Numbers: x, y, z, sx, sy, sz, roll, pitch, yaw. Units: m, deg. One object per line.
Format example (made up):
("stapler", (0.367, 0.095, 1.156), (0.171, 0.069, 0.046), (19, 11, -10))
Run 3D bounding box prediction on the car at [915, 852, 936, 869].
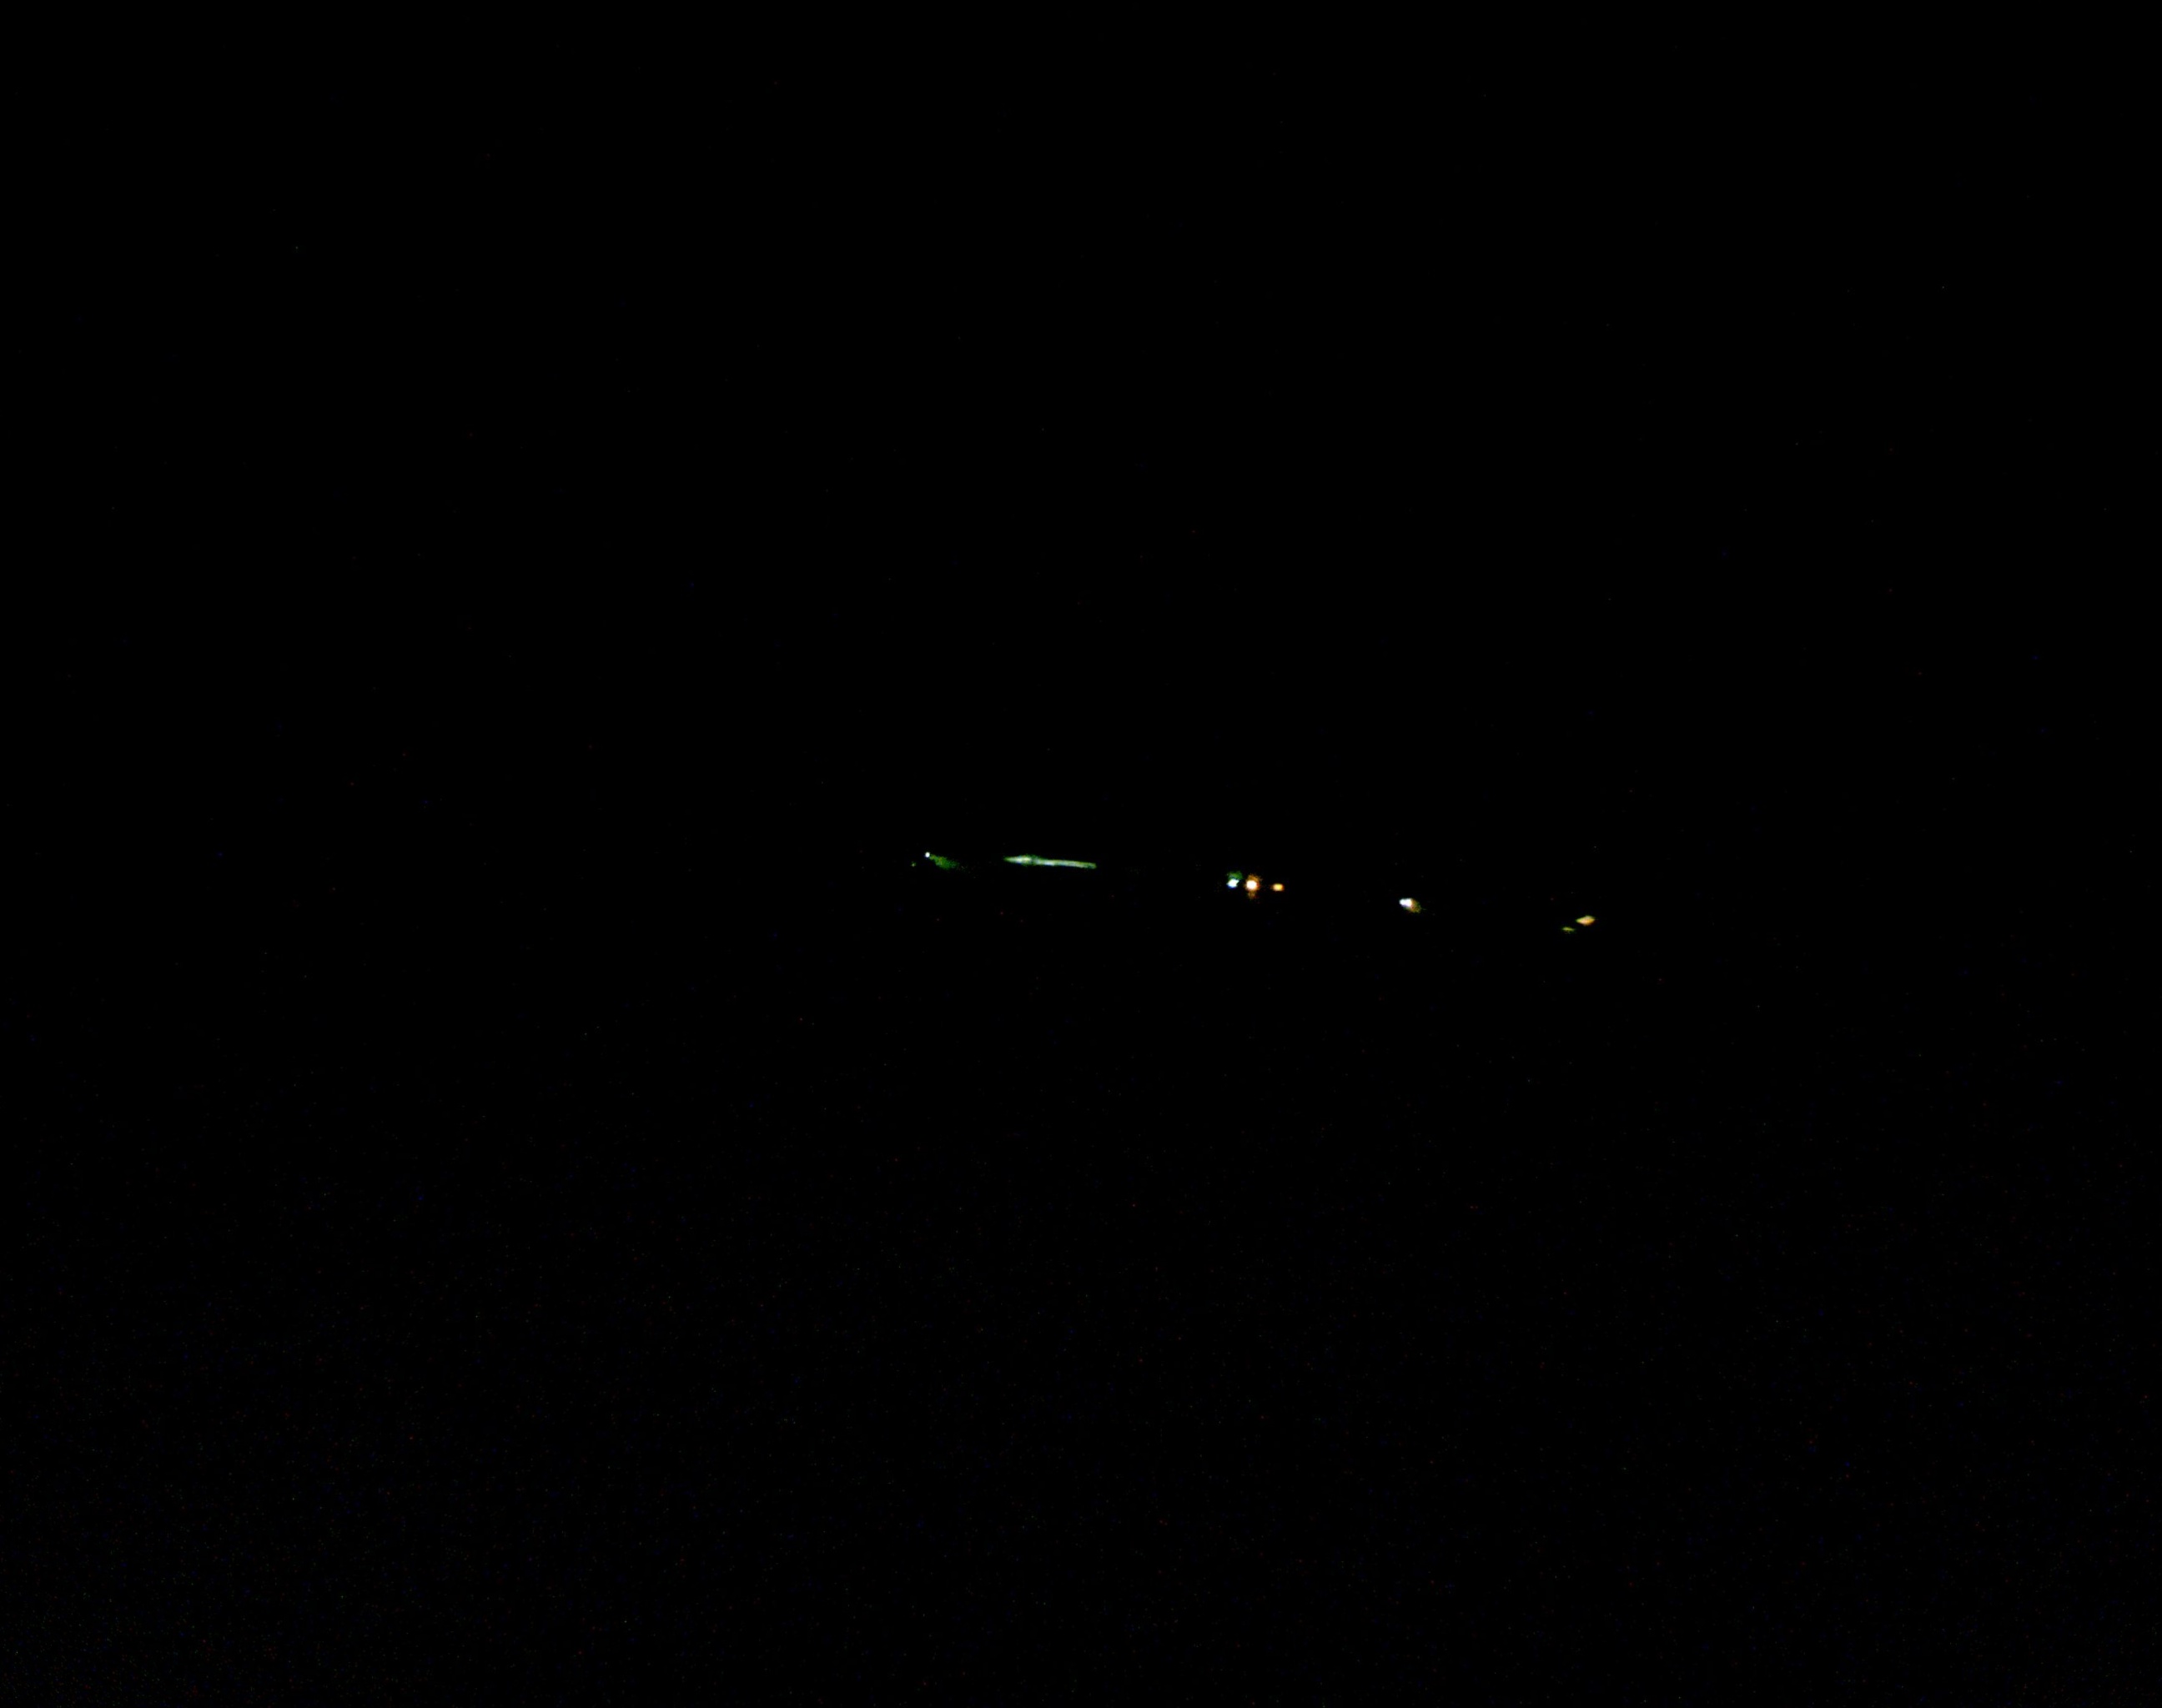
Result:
("car", (-18.007, 0.709, 87.658), (1.801, 1.840, 3.636), (-3, 2, -20))
